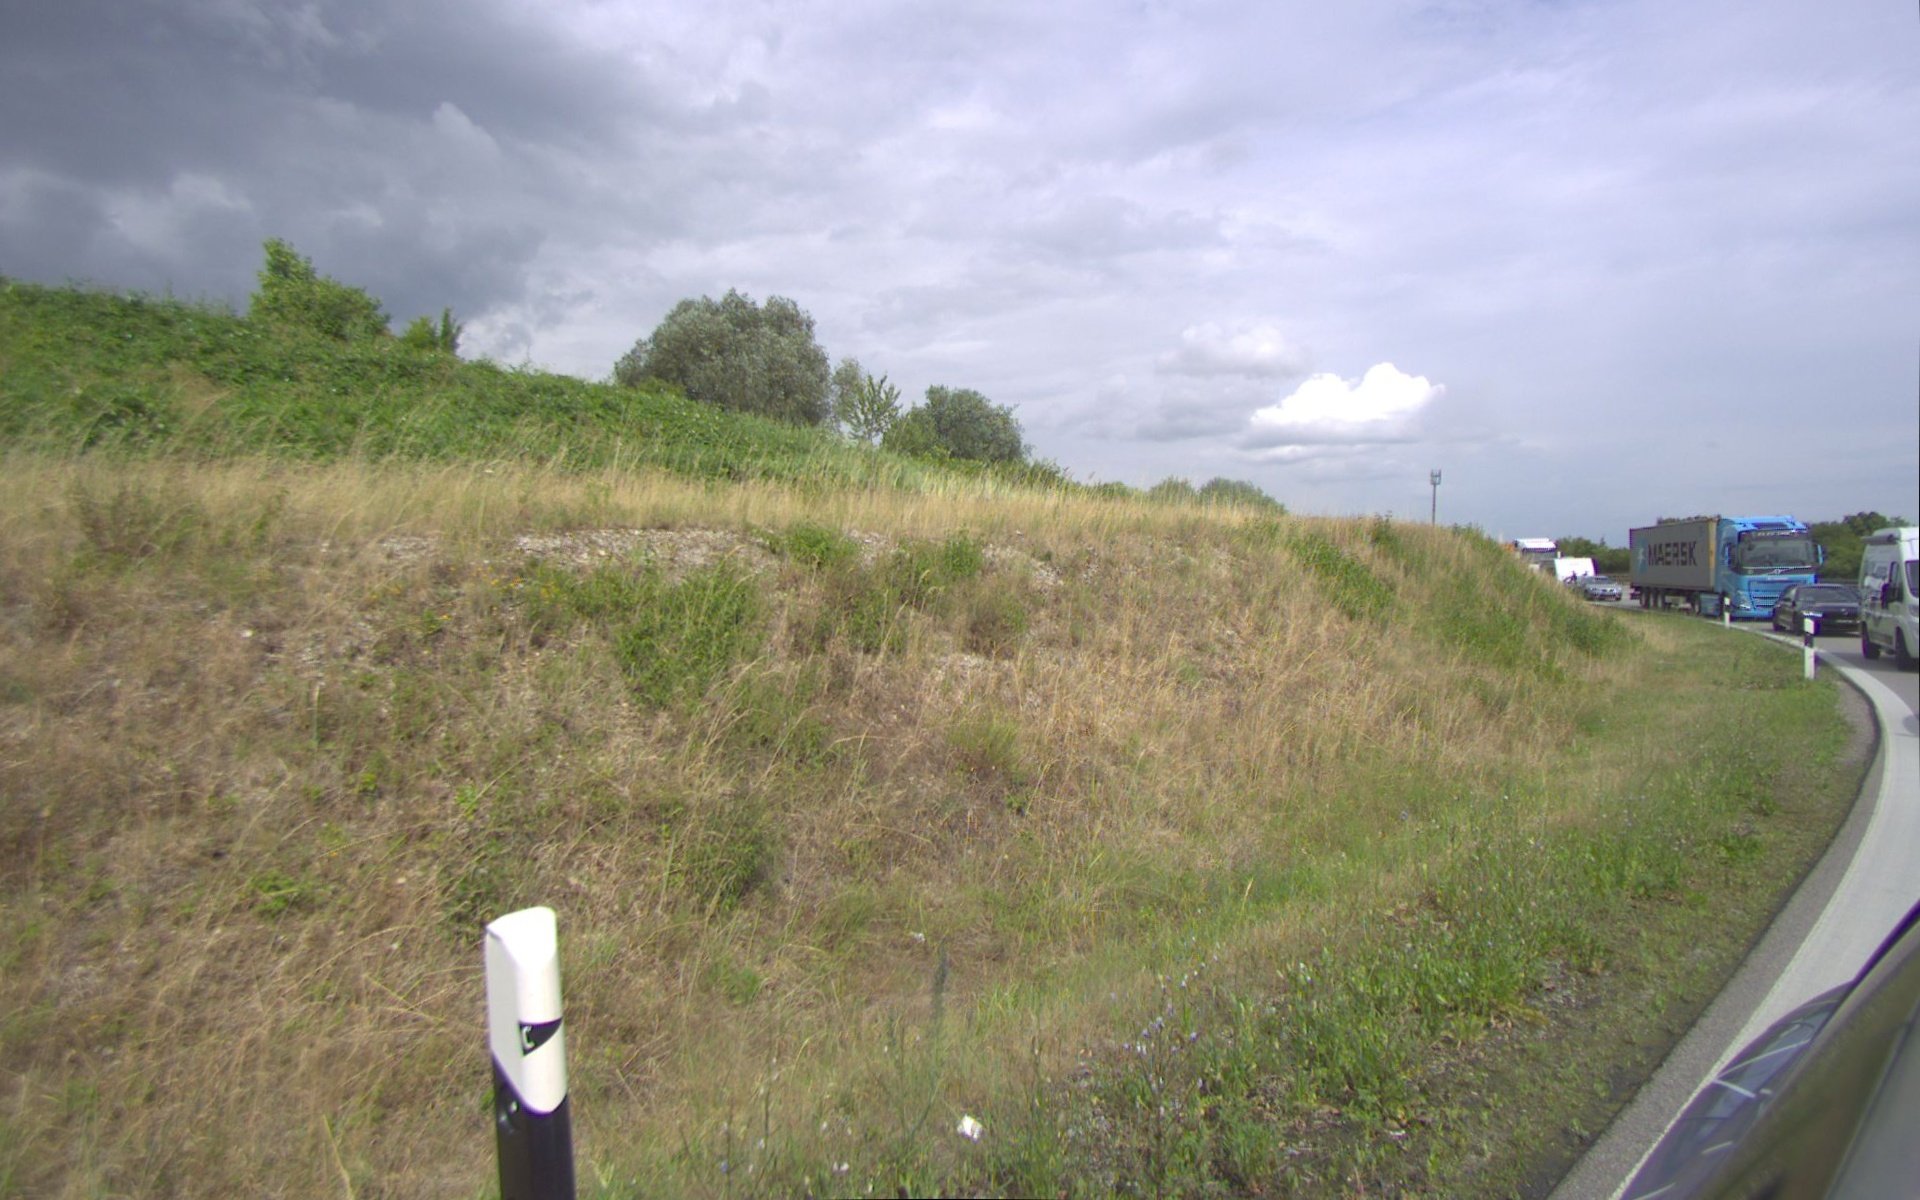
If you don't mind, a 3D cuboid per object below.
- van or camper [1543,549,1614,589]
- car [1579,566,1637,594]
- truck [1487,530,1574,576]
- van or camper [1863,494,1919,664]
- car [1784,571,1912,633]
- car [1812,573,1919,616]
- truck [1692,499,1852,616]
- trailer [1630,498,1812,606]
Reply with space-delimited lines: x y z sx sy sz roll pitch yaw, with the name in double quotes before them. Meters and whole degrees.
"van or camper" 39.841 -2.043 65.355 2.519 2.237 5.684 -1 4 17
"car" 38.105 -1.224 59.587 1.974 1.548 3.977 0 2 19
"truck" 44.077 -3.563 78.662 3.080 3.279 11.113 0 2 14
"van or camper" 19.124 -0.393 19.127 2.384 2.945 5.649 0 0 35
"car" 25.717 -0.004 29.471 1.983 1.638 3.960 1 2 29
"car" 36.935 -0.273 41.291 2.005 1.597 4.552 2 2 23
"truck" 31.332 -1.547 39.414 3.144 4.124 6.595 0 0 23
"trailer" 33.757 -1.946 45.637 3.235 4.214 11.937 0 0 20
